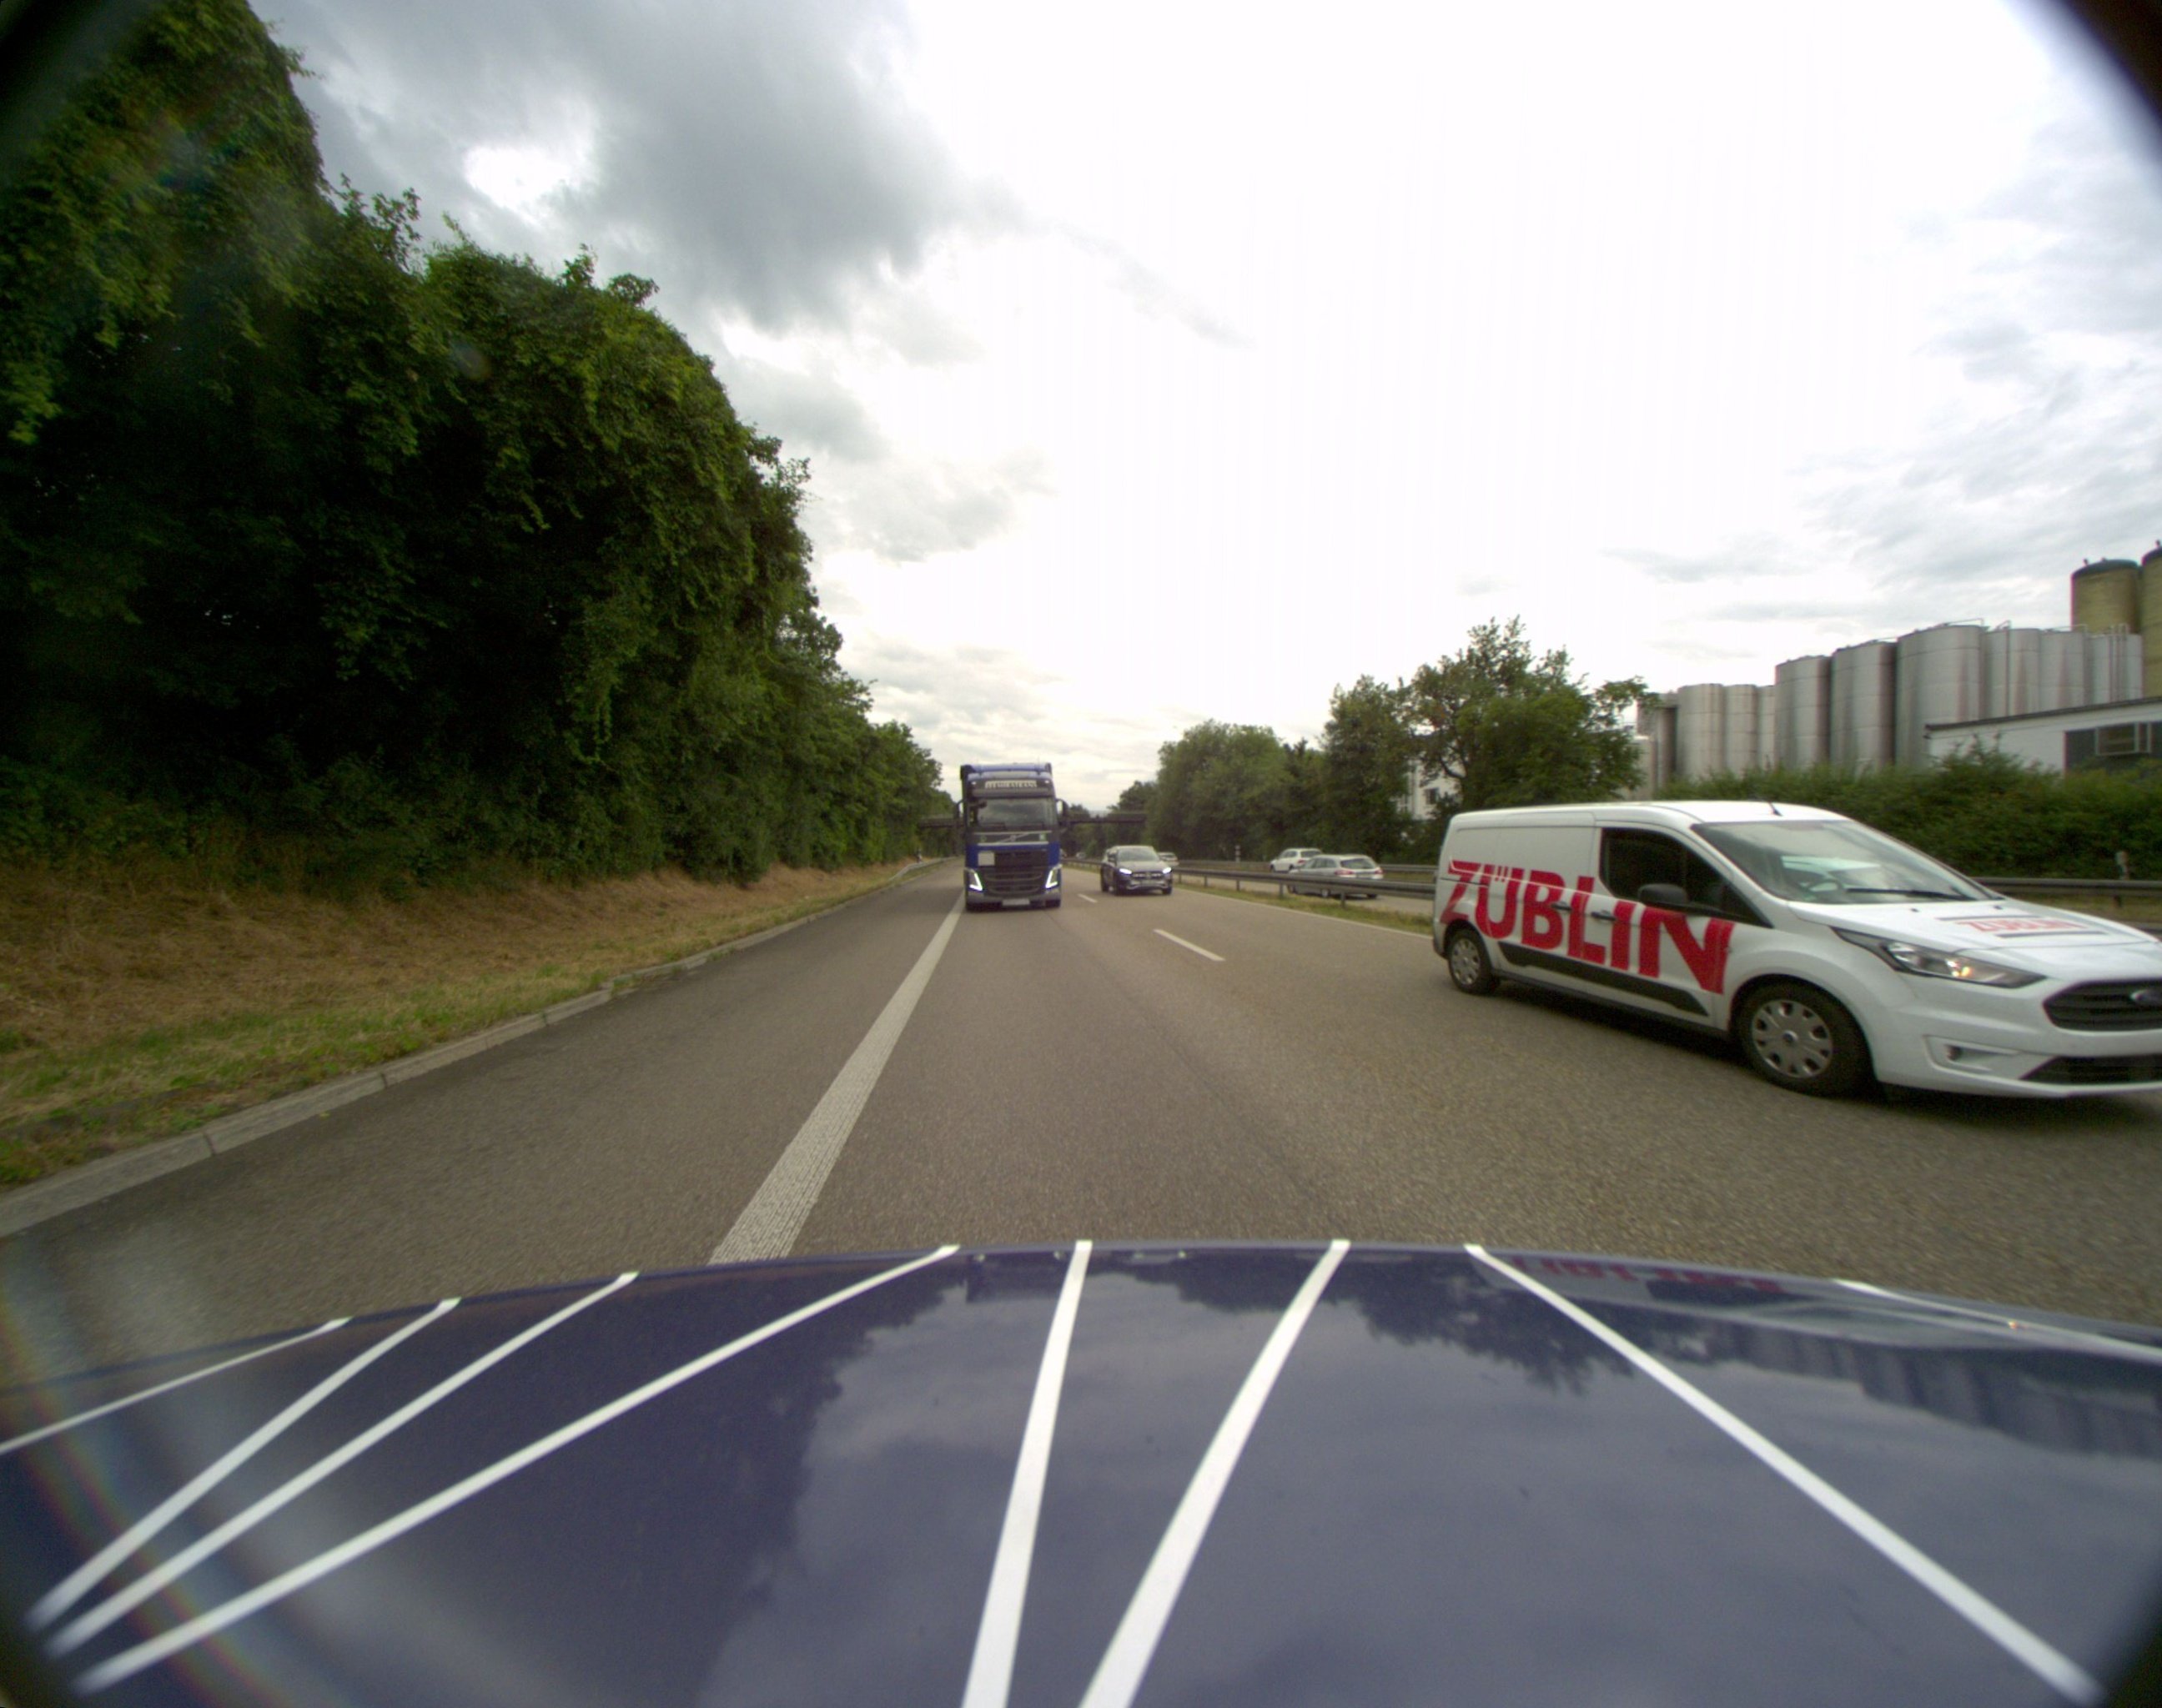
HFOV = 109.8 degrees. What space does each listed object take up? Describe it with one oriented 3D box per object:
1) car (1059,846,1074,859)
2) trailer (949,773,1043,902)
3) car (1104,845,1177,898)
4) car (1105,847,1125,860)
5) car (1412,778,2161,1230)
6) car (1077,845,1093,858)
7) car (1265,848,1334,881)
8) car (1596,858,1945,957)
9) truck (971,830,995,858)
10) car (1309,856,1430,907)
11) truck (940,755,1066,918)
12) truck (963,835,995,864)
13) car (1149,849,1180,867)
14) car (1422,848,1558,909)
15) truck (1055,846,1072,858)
[{"bbox_3d":[-2.301,-0.208,120.930,2.000,2.002,3.997,-1,1,-8],"label":"car"},{"bbox_3d":[-3.423,-0.620,30.715,2.846,4.013,13.076,-2,1,-6],"label":"trailer"},{"bbox_3d":[1.916,0.523,25.627,1.849,1.642,3.998,-1,1,-5],"label":"car"},{"bbox_3d":[4.197,-0.032,94.905,1.699,1.608,3.996,-1,1,-9],"label":"car"},{"bbox_3d":[4.719,0.588,5.675,1.852,1.839,5.003,0,1,-7],"label":"car"},{"bbox_3d":[0.616,-0.427,126.596,2.000,2.002,3.997,-1,1,-8],"label":"car"},{"bbox_3d":[11.936,0.513,41.779,1.732,1.624,4.759,-2,1,-9],"label":"car"},{"bbox_3d":[12.304,0.835,14.092,1.688,1.440,4.659,-1,1,-13],"label":"car"},{"bbox_3d":[-15.093,-1.554,116.398,3.368,4.041,10.175,-2,1,-8],"label":"truck"},{"bbox_3d":[9.162,0.799,24.517,1.851,1.438,4.252,-1,1,-7],"label":"car"},{"bbox_3d":[-2.314,-0.472,22.450,2.962,3.946,7.466,-2,1,-6],"label":"truck"},{"bbox_3d":[-11.669,-0.523,86.377,3.368,3.099,7.233,-2,1,-9],"label":"truck"},{"bbox_3d":[6.988,0.336,63.916,1.610,1.447,3.996,-1,1,-10],"label":"car"},{"bbox_3d":[12.951,0.695,24.402,1.579,1.756,4.275,-1,1,-9],"label":"car"},{"bbox_3d":[-3.854,-0.403,164.238,2.698,2.566,9.201,-1,1,-8],"label":"truck"}]
